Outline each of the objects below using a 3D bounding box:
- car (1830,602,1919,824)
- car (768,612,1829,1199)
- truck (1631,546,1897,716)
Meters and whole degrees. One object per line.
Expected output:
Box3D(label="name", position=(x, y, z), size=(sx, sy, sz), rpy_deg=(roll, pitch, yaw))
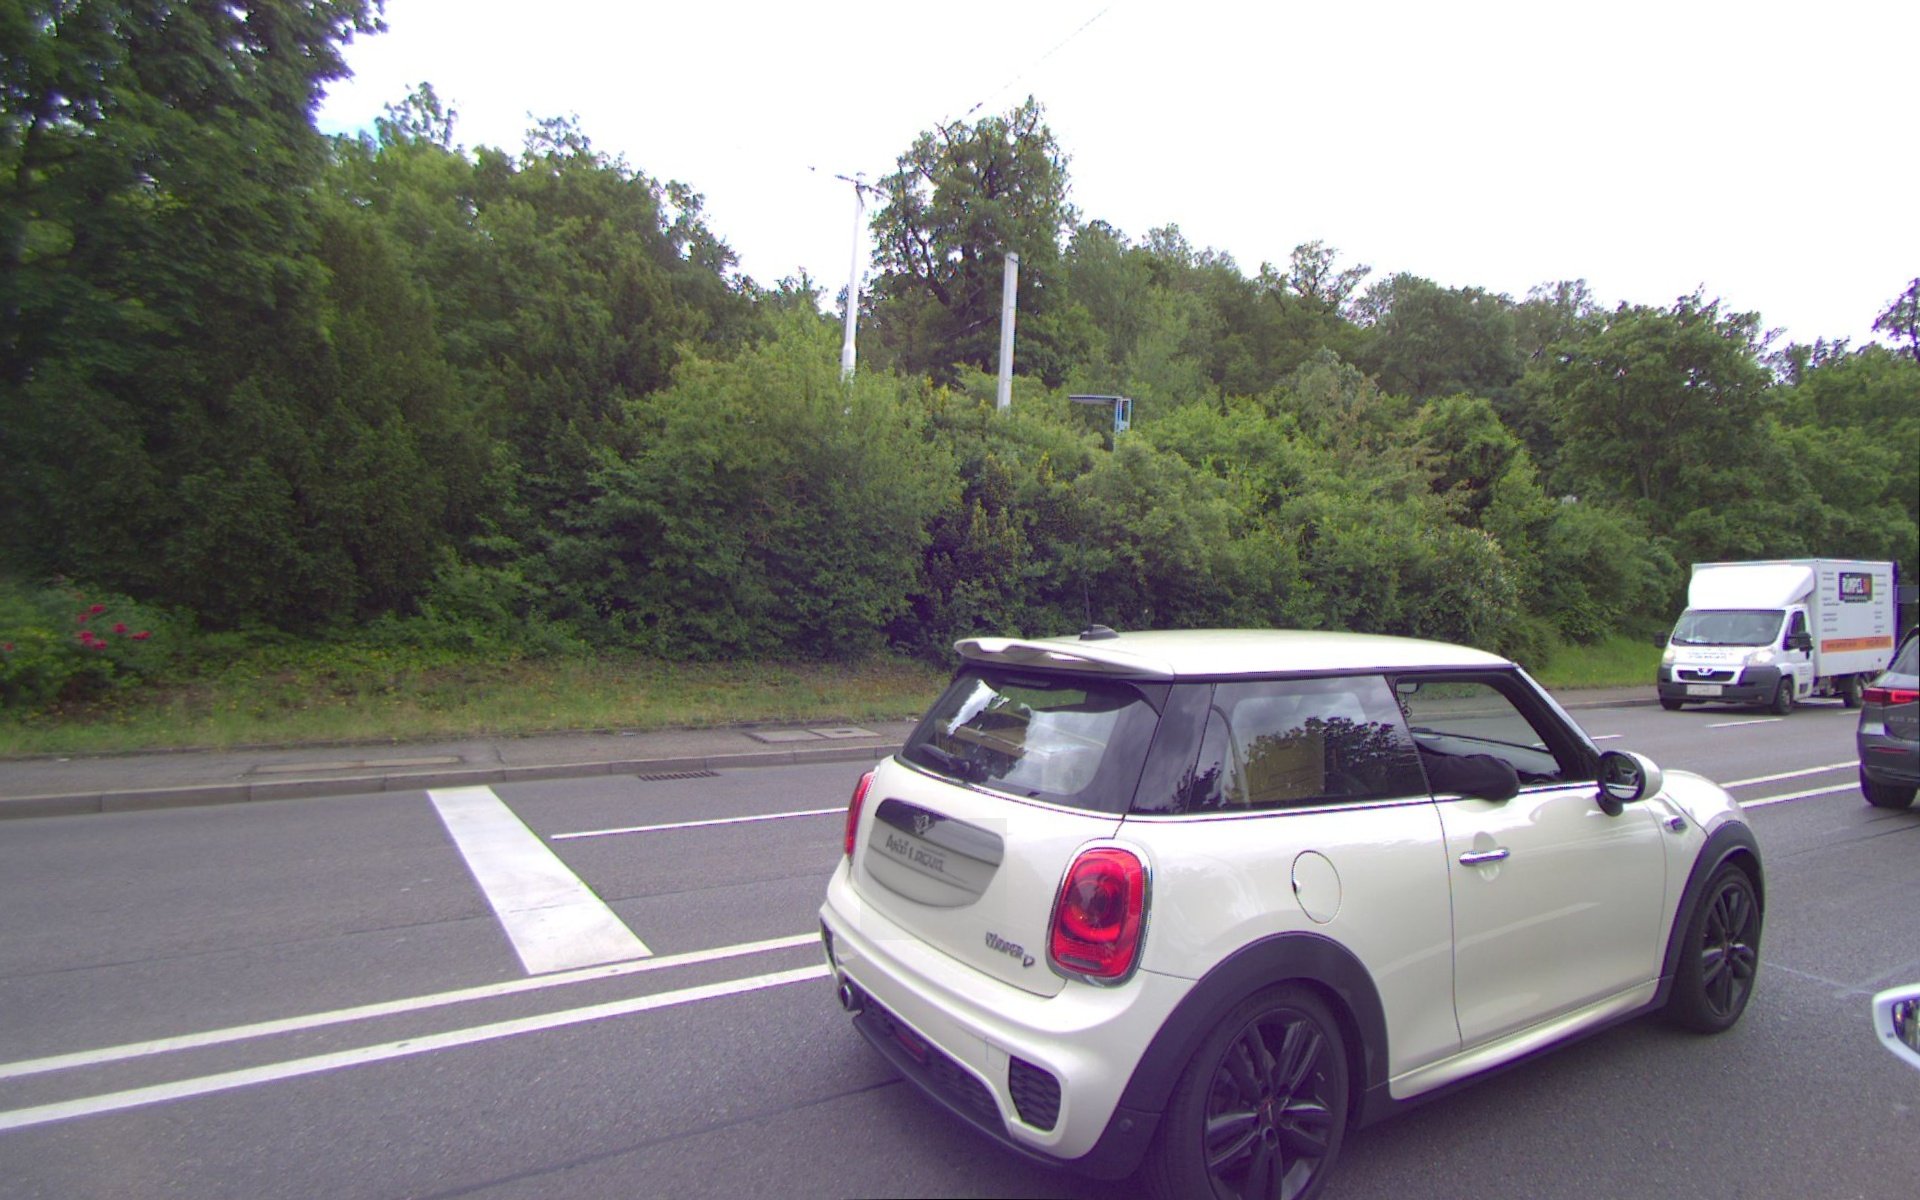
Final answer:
Box3D(label="car", position=(9.285, 0.903, 8.413), size=(4.309, 1.673, 1.839), rpy_deg=(2, -1, -32))
Box3D(label="car", position=(1.365, 0.802, 3.626), size=(3.691, 1.443, 1.675), rpy_deg=(2, -1, -32))
Box3D(label="truck", position=(17.015, 0.693, 21.121), size=(6.903, 3.091, 2.280), rpy_deg=(2, -2, -33))
